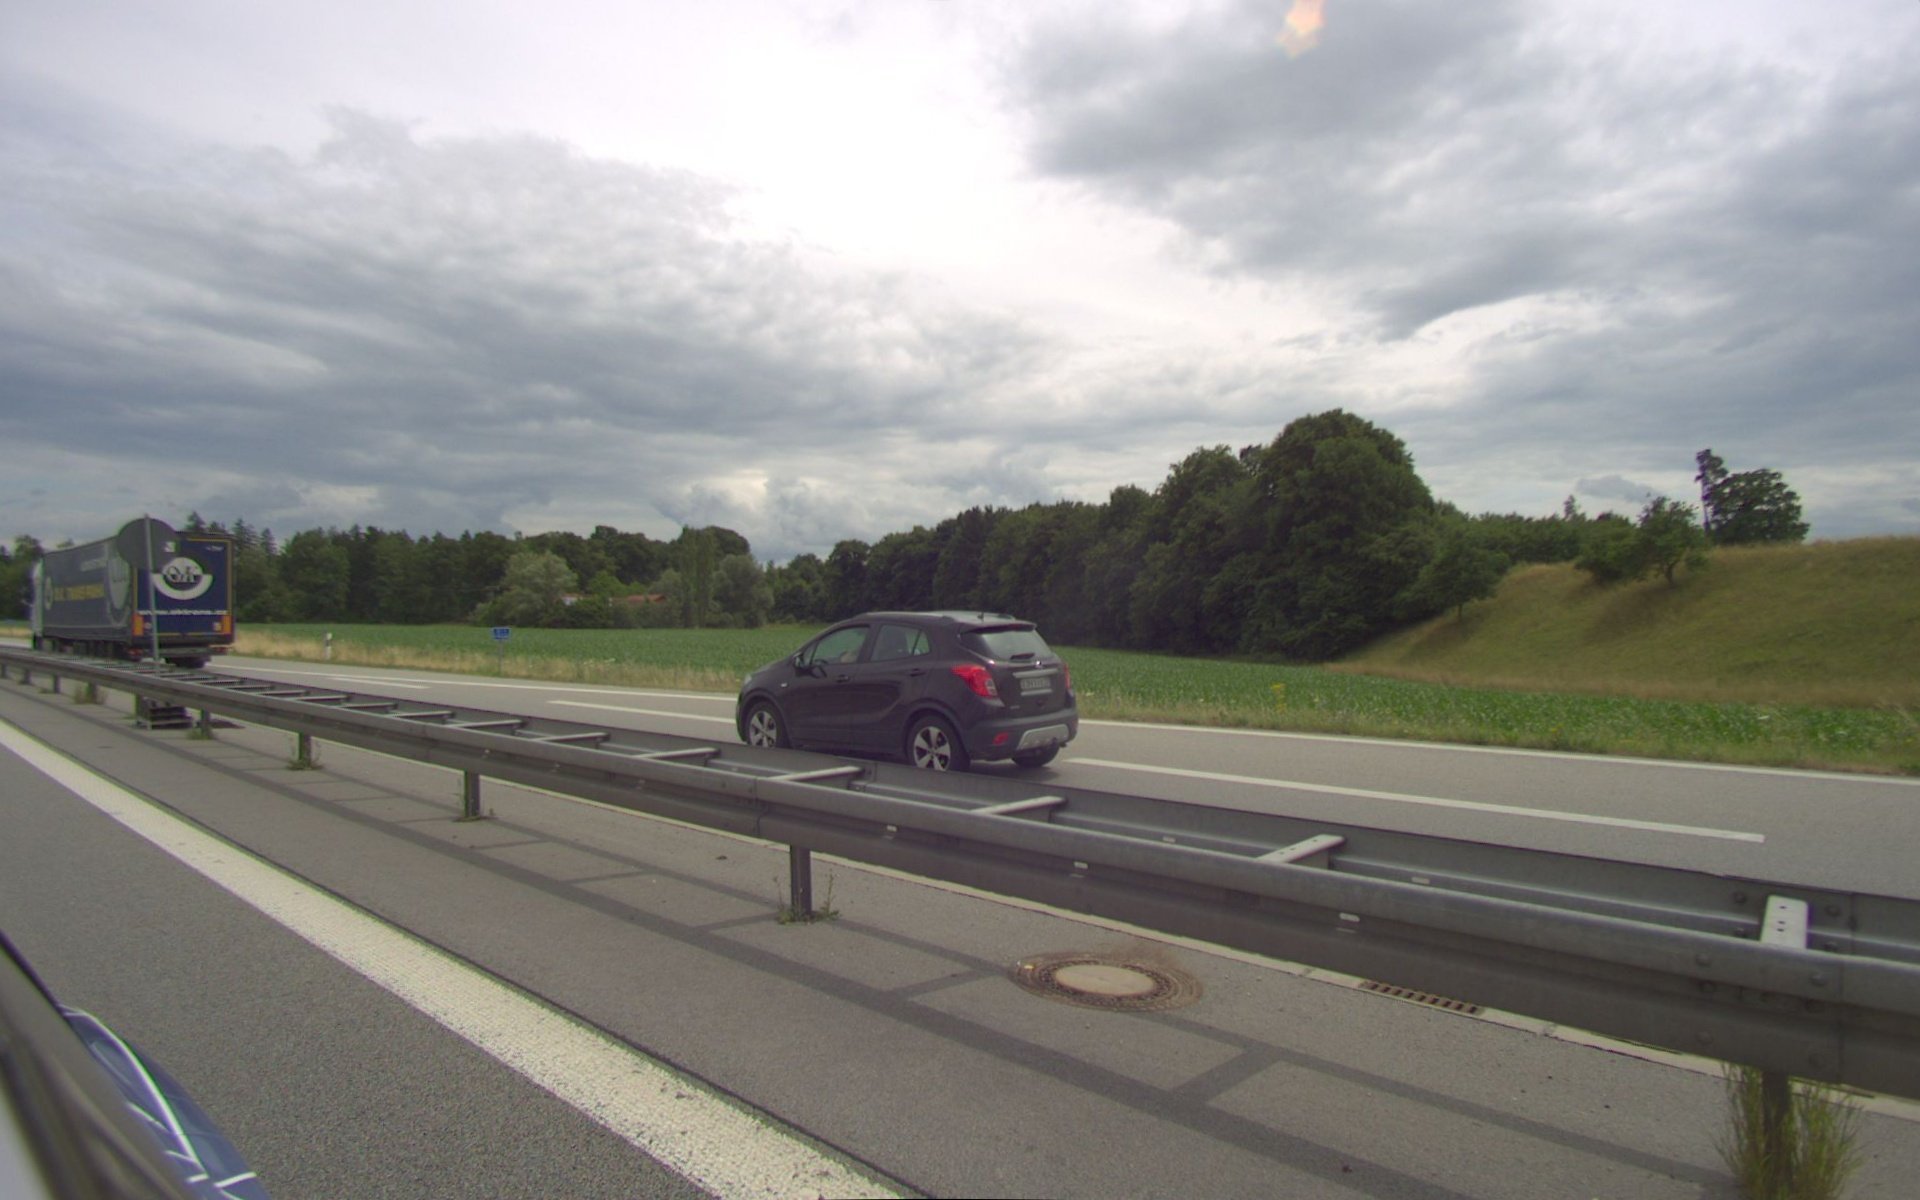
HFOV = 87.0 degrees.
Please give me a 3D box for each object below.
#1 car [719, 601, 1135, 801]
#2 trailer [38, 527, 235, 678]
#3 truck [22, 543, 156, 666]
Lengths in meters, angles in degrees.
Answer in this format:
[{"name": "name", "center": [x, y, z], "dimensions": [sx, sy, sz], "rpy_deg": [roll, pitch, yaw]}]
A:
[{"name": "car", "center": [-0.478, 0.882, 10.843], "dimensions": [4.231, 1.696, 1.973], "rpy_deg": [0, 1, 40]}, {"name": "trailer", "center": [-27.609, 0.085, 33.527], "dimensions": [13.556, 4.204, 2.770], "rpy_deg": [0, 0, 41]}, {"name": "truck", "center": [-32.669, 0.147, 37.852], "dimensions": [7.225, 4.173, 2.770], "rpy_deg": [0, 0, 41]}]
